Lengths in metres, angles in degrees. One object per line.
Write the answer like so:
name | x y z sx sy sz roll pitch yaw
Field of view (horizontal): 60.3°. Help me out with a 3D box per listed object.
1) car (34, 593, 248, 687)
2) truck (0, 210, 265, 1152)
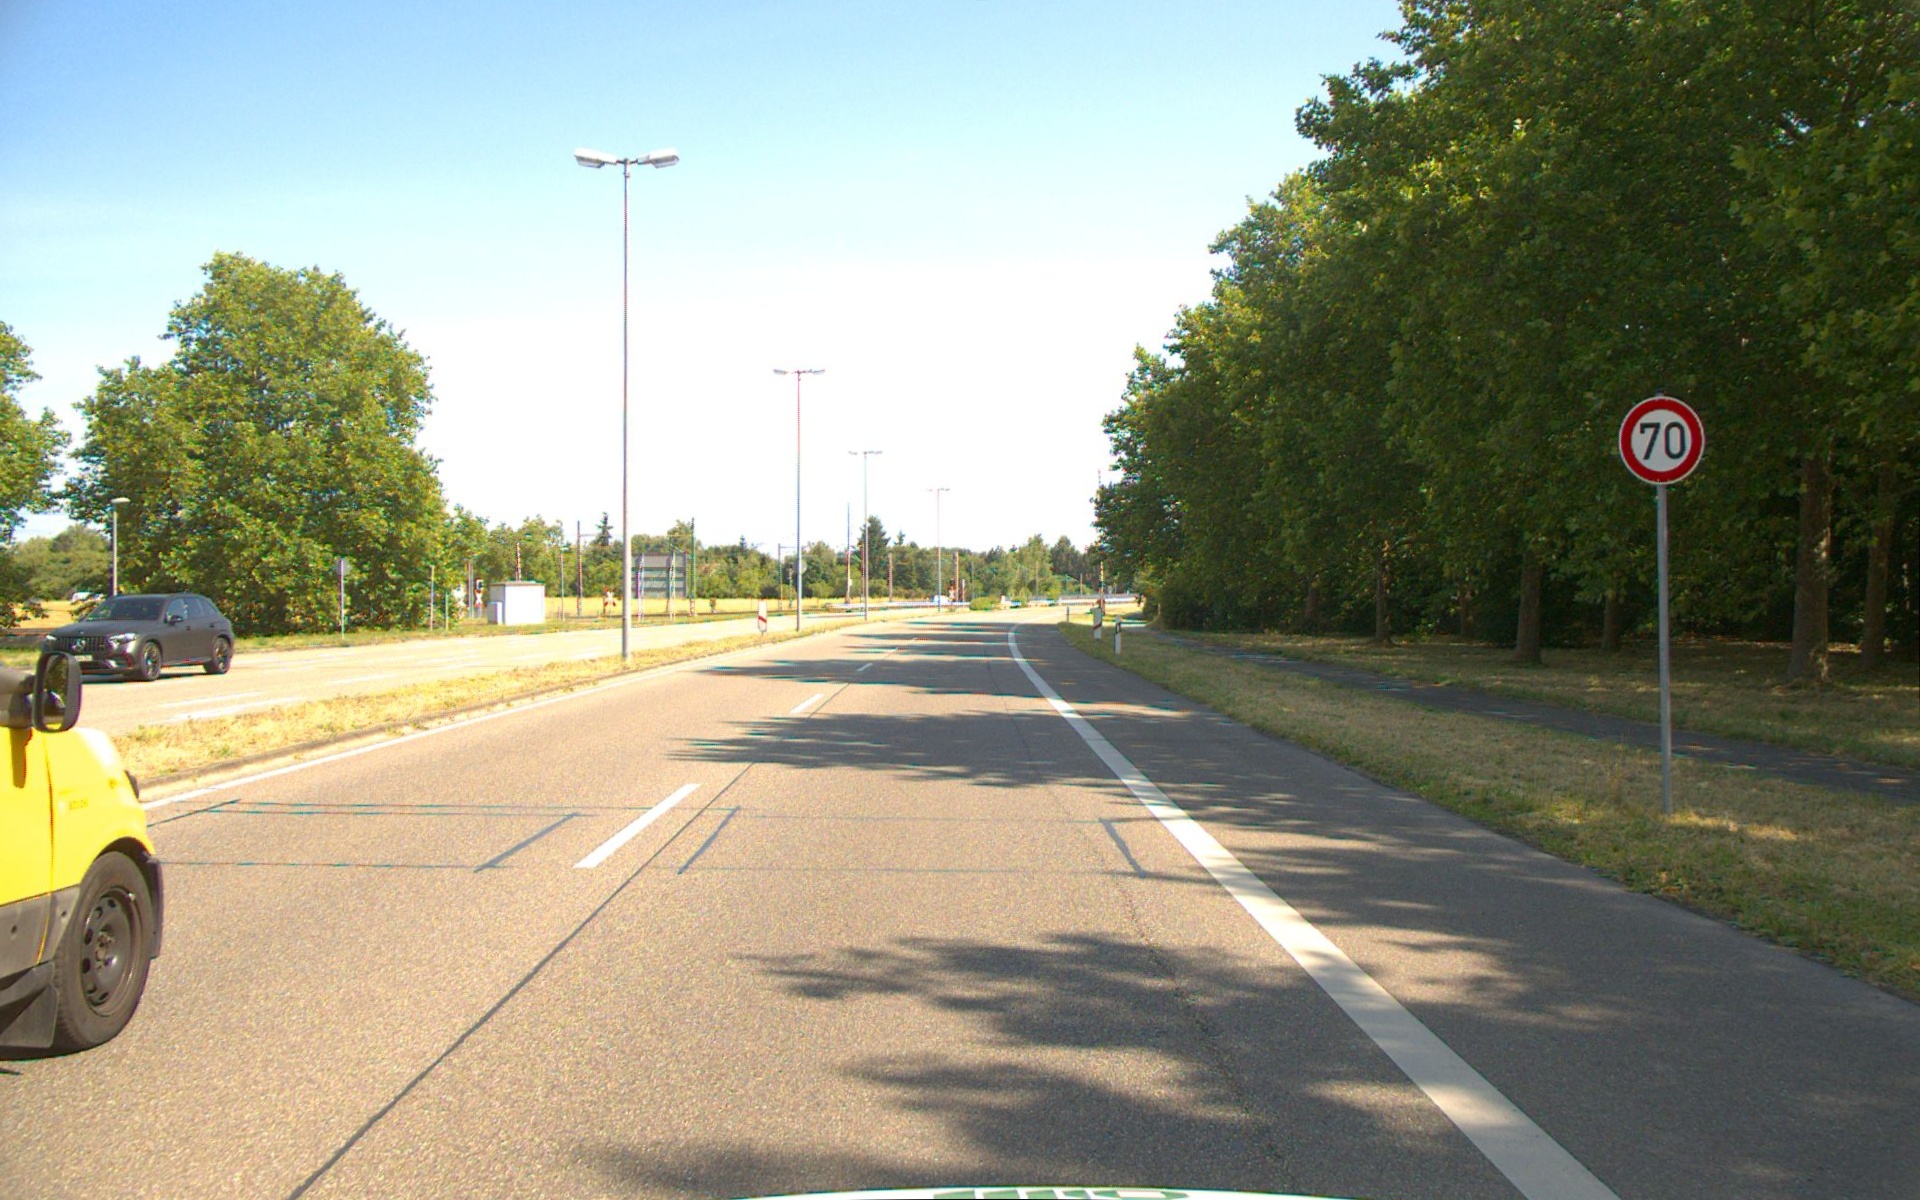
car | -15.924 0.732 32.455 1.942 1.689 4.554 -1 0 0
truck | -3.545 0.211 3.139 2.069 2.500 5.915 1 0 -2
